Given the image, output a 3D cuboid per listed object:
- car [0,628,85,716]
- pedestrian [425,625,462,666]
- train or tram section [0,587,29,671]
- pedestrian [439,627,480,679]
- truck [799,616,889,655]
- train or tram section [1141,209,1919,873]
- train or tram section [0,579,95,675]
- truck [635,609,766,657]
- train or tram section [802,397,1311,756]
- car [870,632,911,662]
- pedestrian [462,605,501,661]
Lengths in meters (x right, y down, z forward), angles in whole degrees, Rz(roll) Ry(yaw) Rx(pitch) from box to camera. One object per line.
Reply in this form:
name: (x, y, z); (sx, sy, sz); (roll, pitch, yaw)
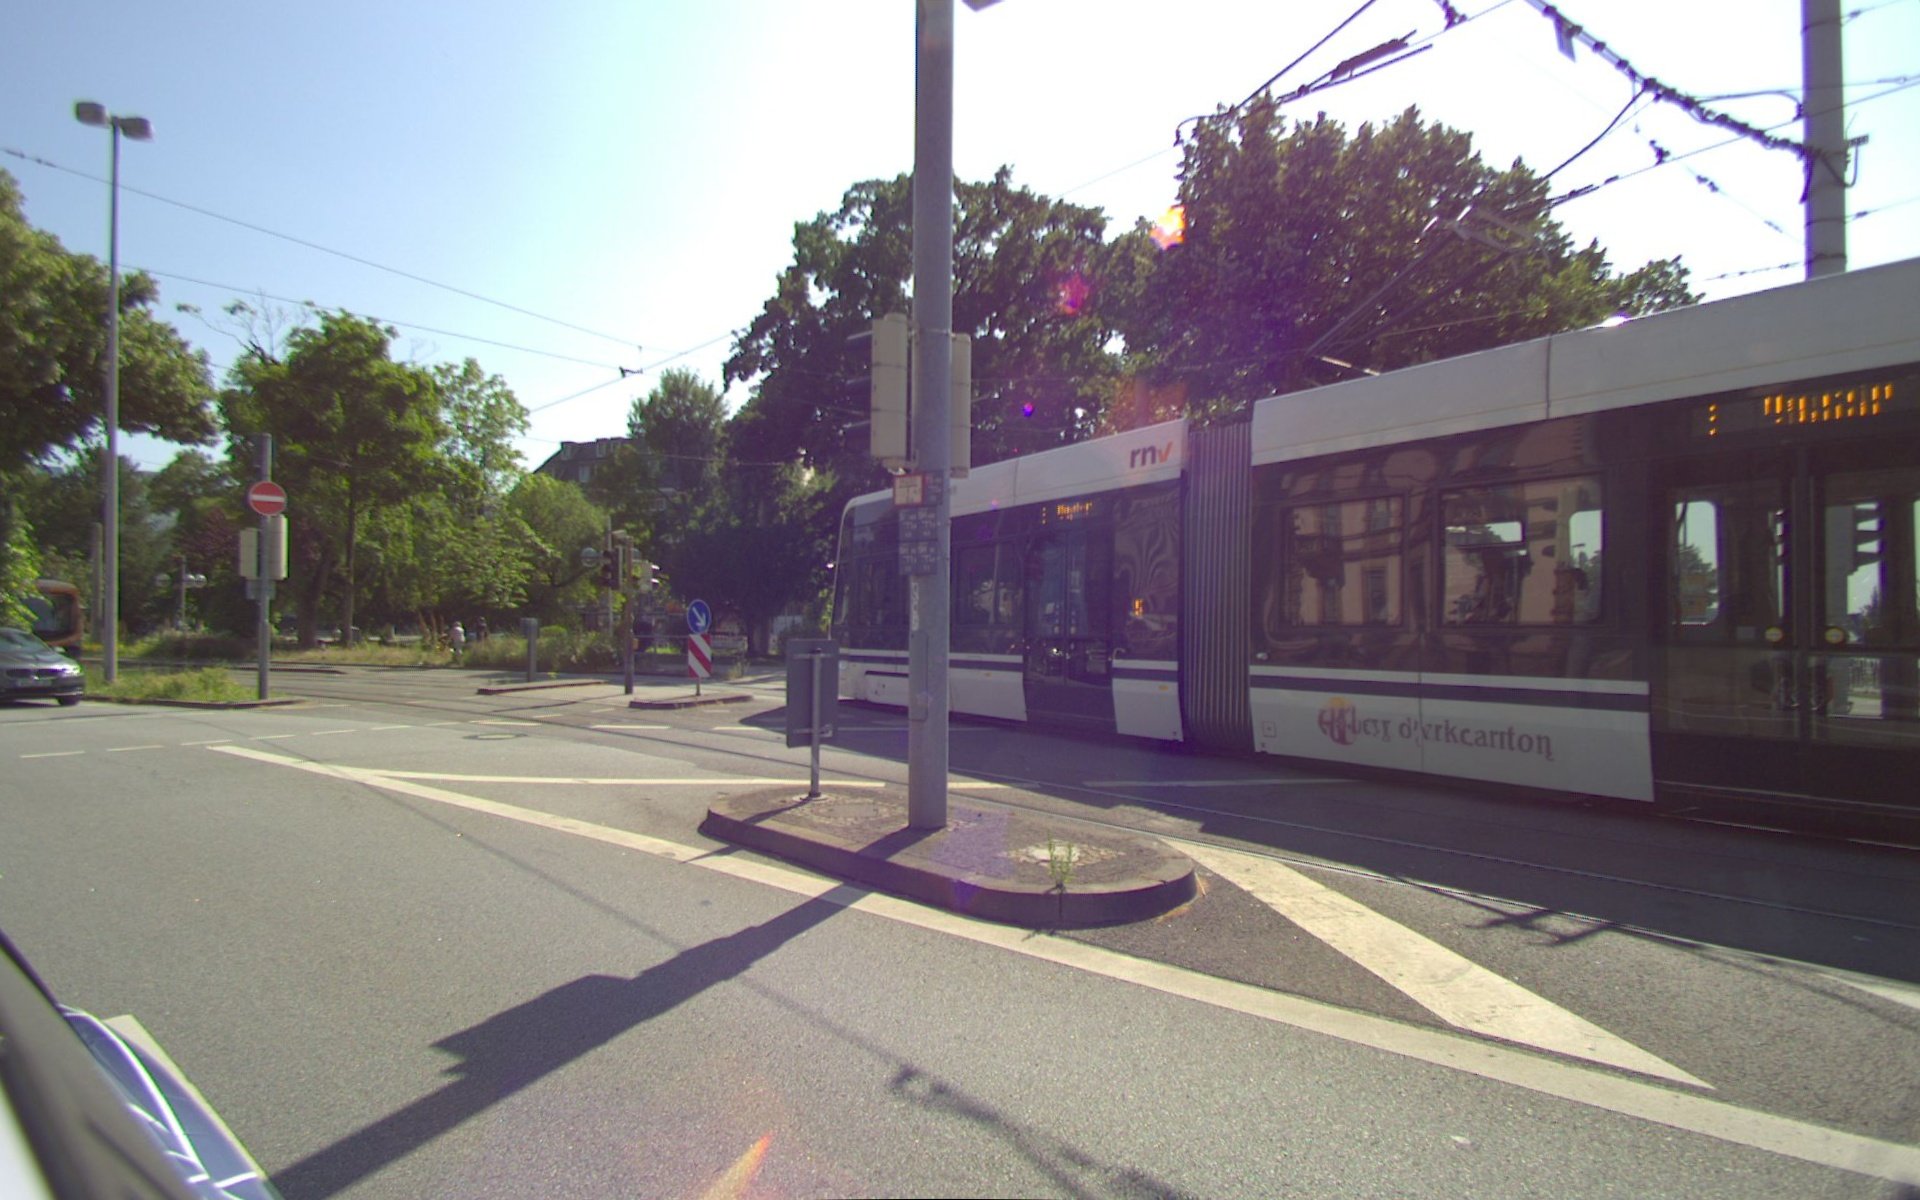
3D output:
car: (-18.271, 1.301, 18.690); (4.728, 1.497, 1.735); (-2, -4, 30)
pedestrian: (-20.927, 1.843, 41.025); (0.932, 1.632, 1.027); (-2, -3, 36)
train or tram section: (-44.412, 1.265, 43.647); (12.363, 3.429, 2.740); (-1, -3, 31)
pedestrian: (-20.098, 2.111, 40.650); (0.800, 2.029, 1.211); (-2, -3, 36)
truck: (-9.989, 3.085, 86.920); (7.610, 3.240, 2.445); (-1, -3, 25)
train or tram section: (5.658, -0.279, 7.693); (2.504, 3.806, 9.189); (1, -3, -36)
train or tram section: (-36.431, 1.069, 39.010); (5.861, 3.429, 2.741); (-1, -3, 29)
truck: (-24.153, 3.109, 94.209); (11.717, 4.295, 3.610); (-1, -2, 19)
train or tram section: (0.635, -0.114, 15.278); (2.502, 3.806, 9.194); (1, -2, -33)
car: (-4.881, 3.288, 71.752); (1.977, 2.029, 4.544); (0, -1, 8)
pedestrian: (-19.125, 1.324, 40.468); (0.800, 2.167, 1.113); (-2, -3, 36)
